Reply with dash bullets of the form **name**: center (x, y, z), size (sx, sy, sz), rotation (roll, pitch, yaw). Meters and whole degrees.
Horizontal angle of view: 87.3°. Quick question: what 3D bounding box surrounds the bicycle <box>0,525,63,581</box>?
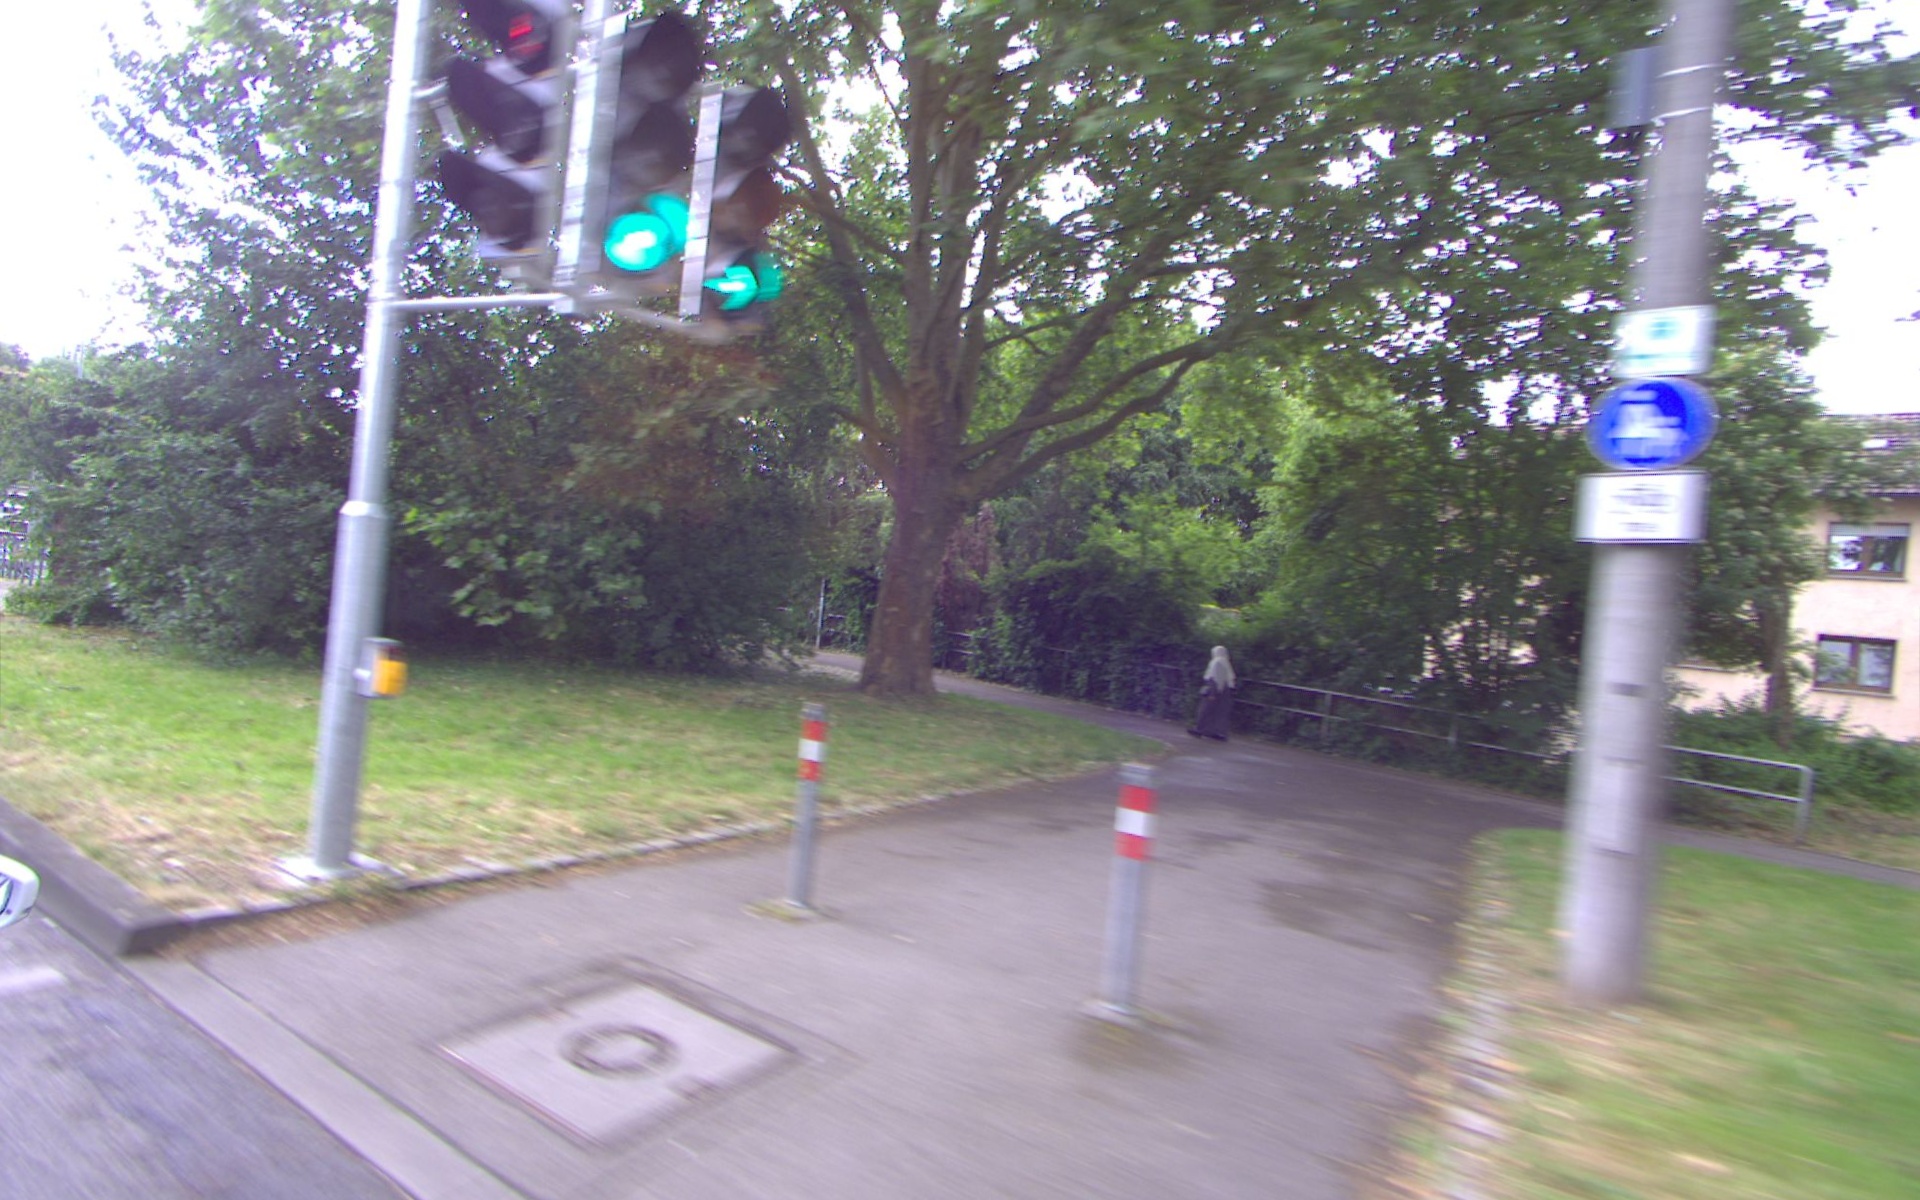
- **bicycle**: center (-21.145, -1.079, 22.336), size (1.773, 1.124, 0.450), rotation (7, -1, -43)

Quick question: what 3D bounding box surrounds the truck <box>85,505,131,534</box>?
- **truck**: center (-70.478, -6.628, 83.218), size (5.171, 2.039, 2.229), rotation (5, 0, 43)

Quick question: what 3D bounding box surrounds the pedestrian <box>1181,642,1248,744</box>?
- **pedestrian**: center (4.187, 1.517, 16.537), size (0.731, 1.571, 0.683), rotation (6, 1, 34)

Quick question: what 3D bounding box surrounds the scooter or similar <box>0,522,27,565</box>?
- **scooter or similar**: center (-28.382, -1.707, 29.657), size (1.176, 1.184, 0.290), rotation (6, 0, -41)

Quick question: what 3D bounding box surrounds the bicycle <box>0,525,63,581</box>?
- **bicycle**: center (-20.687, -1.055, 21.784), size (1.764, 1.124, 0.422), rotation (6, -1, -30)

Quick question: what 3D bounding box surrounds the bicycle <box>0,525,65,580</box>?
- **bicycle**: center (-21.619, -1.109, 22.868), size (0.572, 1.124, 1.776), rotation (5, -1, 42)

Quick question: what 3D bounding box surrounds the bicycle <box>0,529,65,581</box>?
- **bicycle**: center (-22.905, -1.123, 24.313), size (0.546, 1.124, 1.776), rotation (5, -2, 42)

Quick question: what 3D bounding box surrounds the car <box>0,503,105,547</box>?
- **car**: center (-48.490, -3.998, 53.295), size (1.583, 1.796, 4.541), rotation (6, 0, 37)
